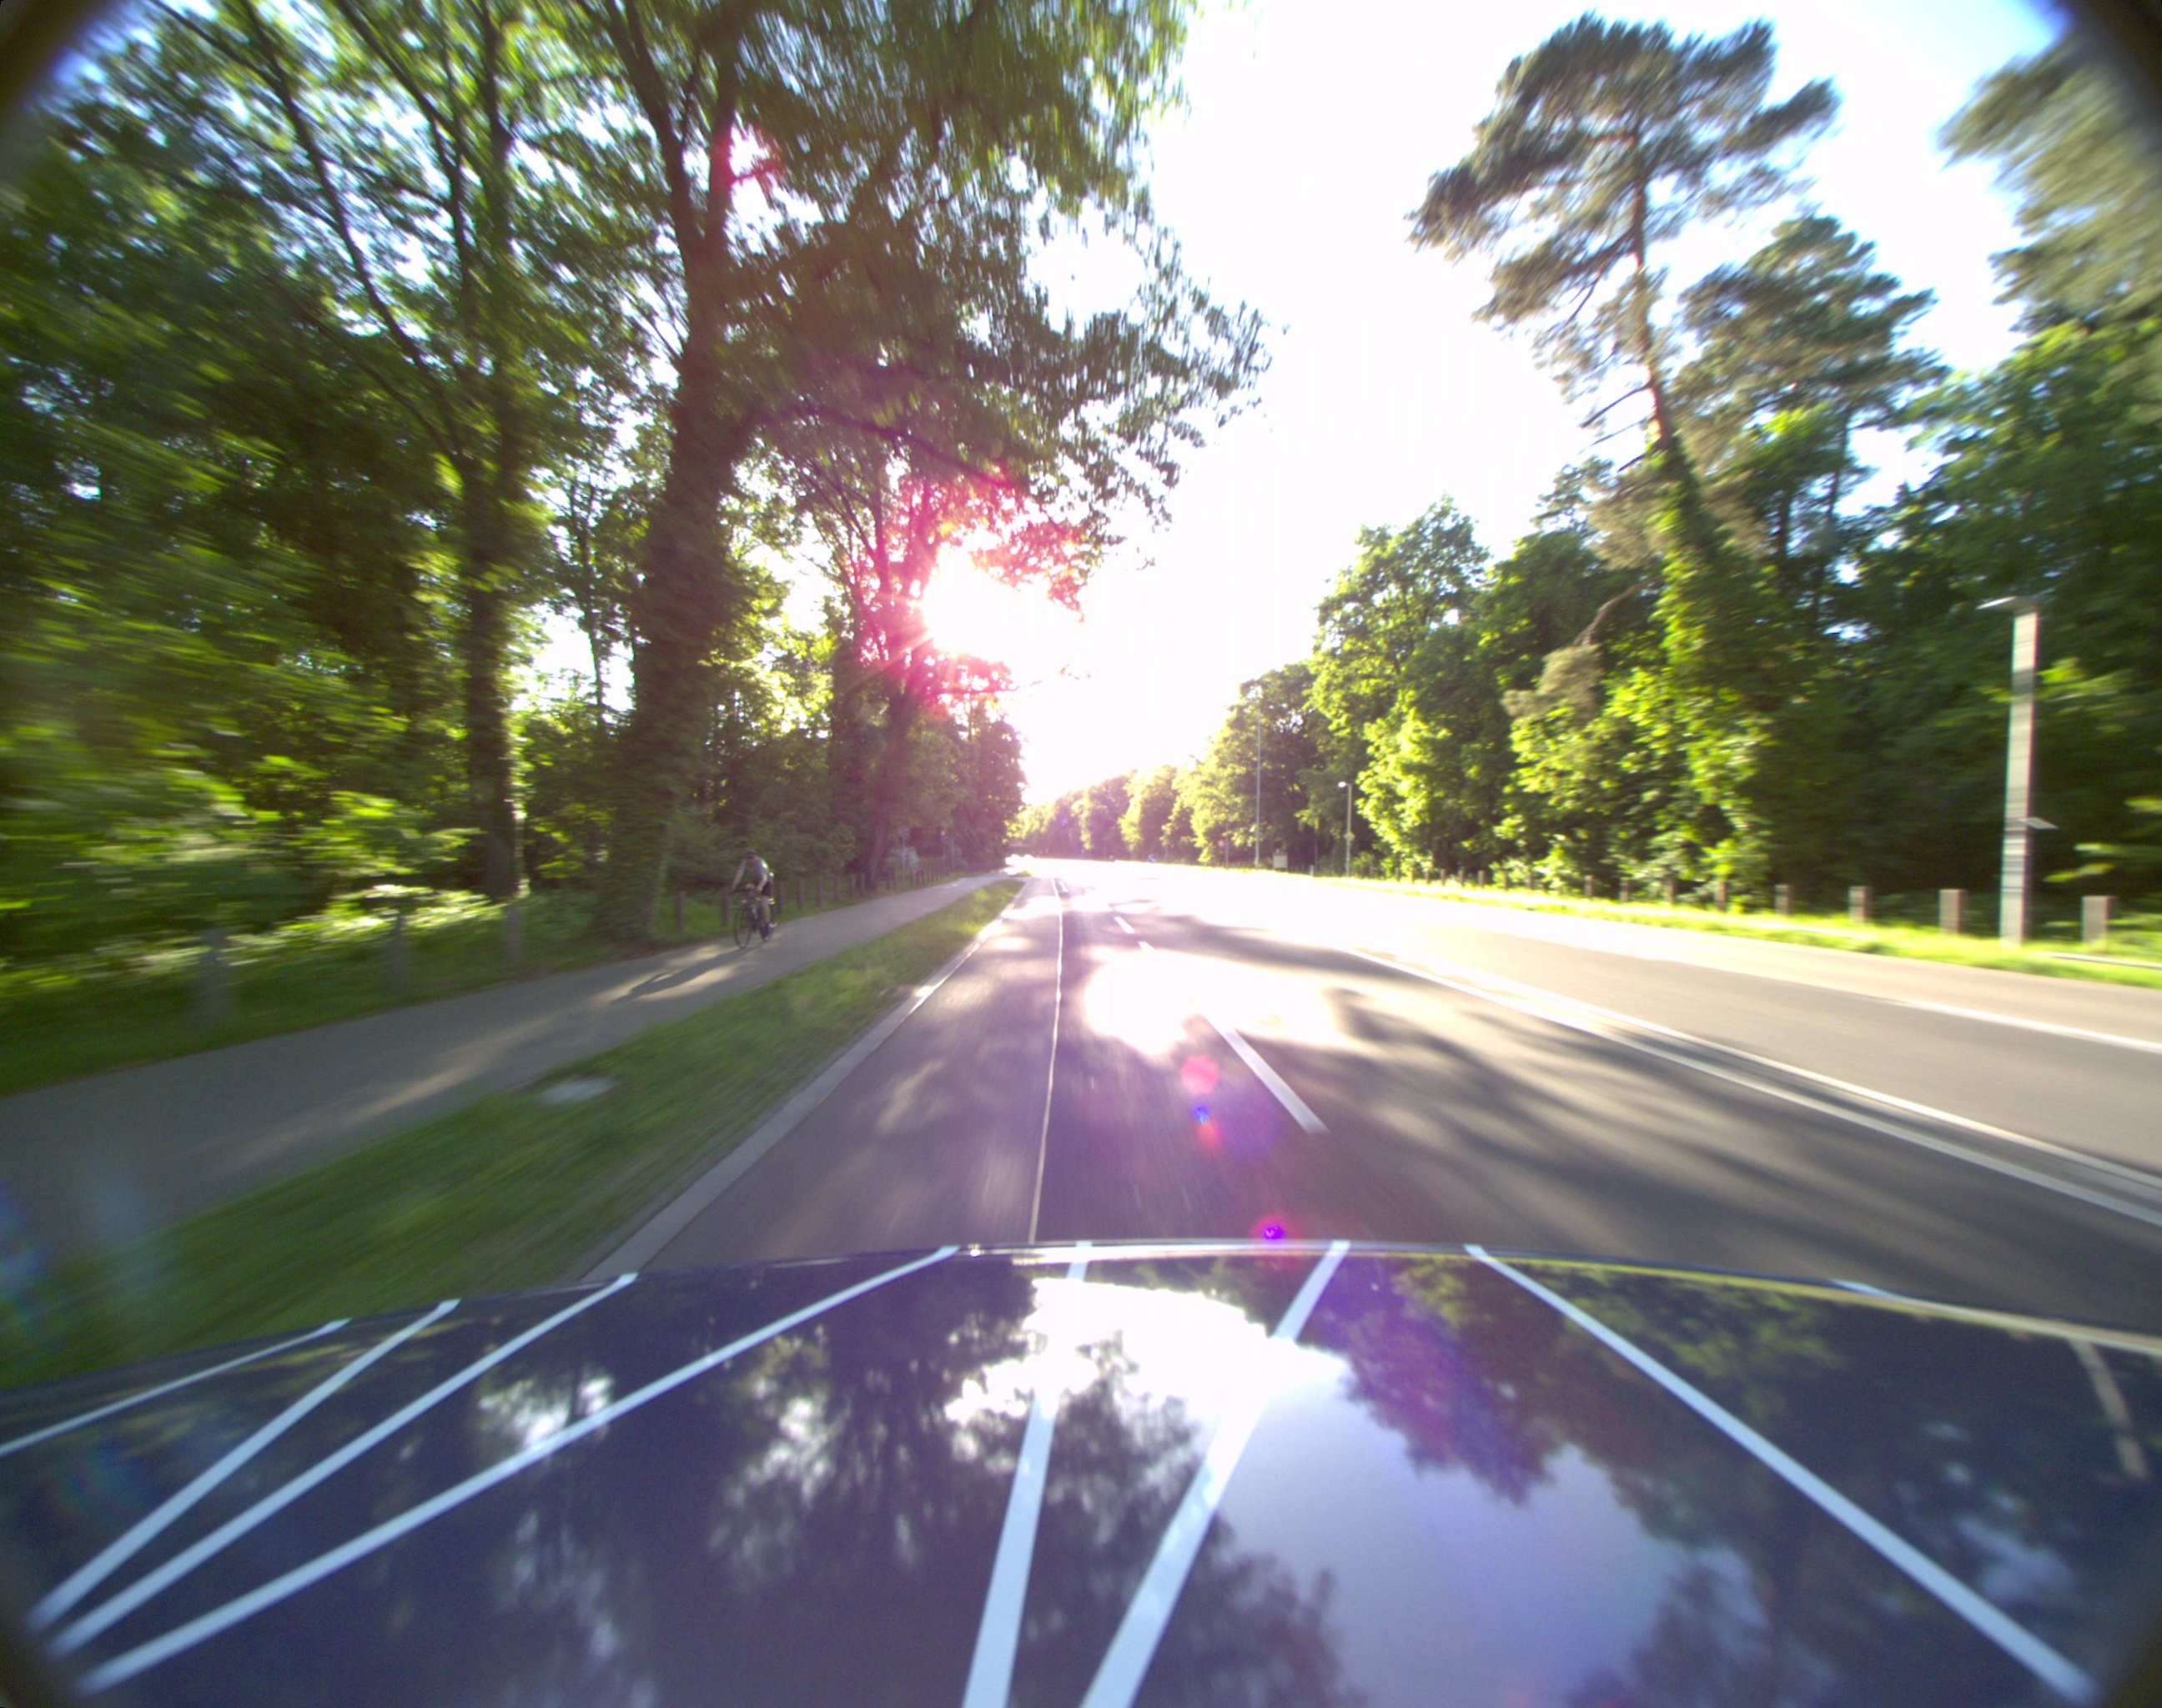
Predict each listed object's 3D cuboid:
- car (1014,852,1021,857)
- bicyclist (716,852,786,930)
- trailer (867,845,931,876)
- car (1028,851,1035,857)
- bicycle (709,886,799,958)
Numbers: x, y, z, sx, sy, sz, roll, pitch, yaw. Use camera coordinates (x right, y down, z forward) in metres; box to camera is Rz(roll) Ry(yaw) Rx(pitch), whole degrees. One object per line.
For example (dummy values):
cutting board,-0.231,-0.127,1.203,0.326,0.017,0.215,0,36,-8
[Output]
car,-20.947,0.276,248.980,1.828,1.674,3.996,0,0,-11
bicyclist,-5.643,0.606,13.043,0.714,1.281,1.104,-1,0,-2
trailer,-12.180,0.401,50.778,4.215,2.010,2.004,0,1,39
car,-14.076,0.101,217.148,1.827,1.674,3.997,0,0,-8
bicycle,-5.637,1.141,13.249,0.714,1.049,2.052,-1,0,-2
